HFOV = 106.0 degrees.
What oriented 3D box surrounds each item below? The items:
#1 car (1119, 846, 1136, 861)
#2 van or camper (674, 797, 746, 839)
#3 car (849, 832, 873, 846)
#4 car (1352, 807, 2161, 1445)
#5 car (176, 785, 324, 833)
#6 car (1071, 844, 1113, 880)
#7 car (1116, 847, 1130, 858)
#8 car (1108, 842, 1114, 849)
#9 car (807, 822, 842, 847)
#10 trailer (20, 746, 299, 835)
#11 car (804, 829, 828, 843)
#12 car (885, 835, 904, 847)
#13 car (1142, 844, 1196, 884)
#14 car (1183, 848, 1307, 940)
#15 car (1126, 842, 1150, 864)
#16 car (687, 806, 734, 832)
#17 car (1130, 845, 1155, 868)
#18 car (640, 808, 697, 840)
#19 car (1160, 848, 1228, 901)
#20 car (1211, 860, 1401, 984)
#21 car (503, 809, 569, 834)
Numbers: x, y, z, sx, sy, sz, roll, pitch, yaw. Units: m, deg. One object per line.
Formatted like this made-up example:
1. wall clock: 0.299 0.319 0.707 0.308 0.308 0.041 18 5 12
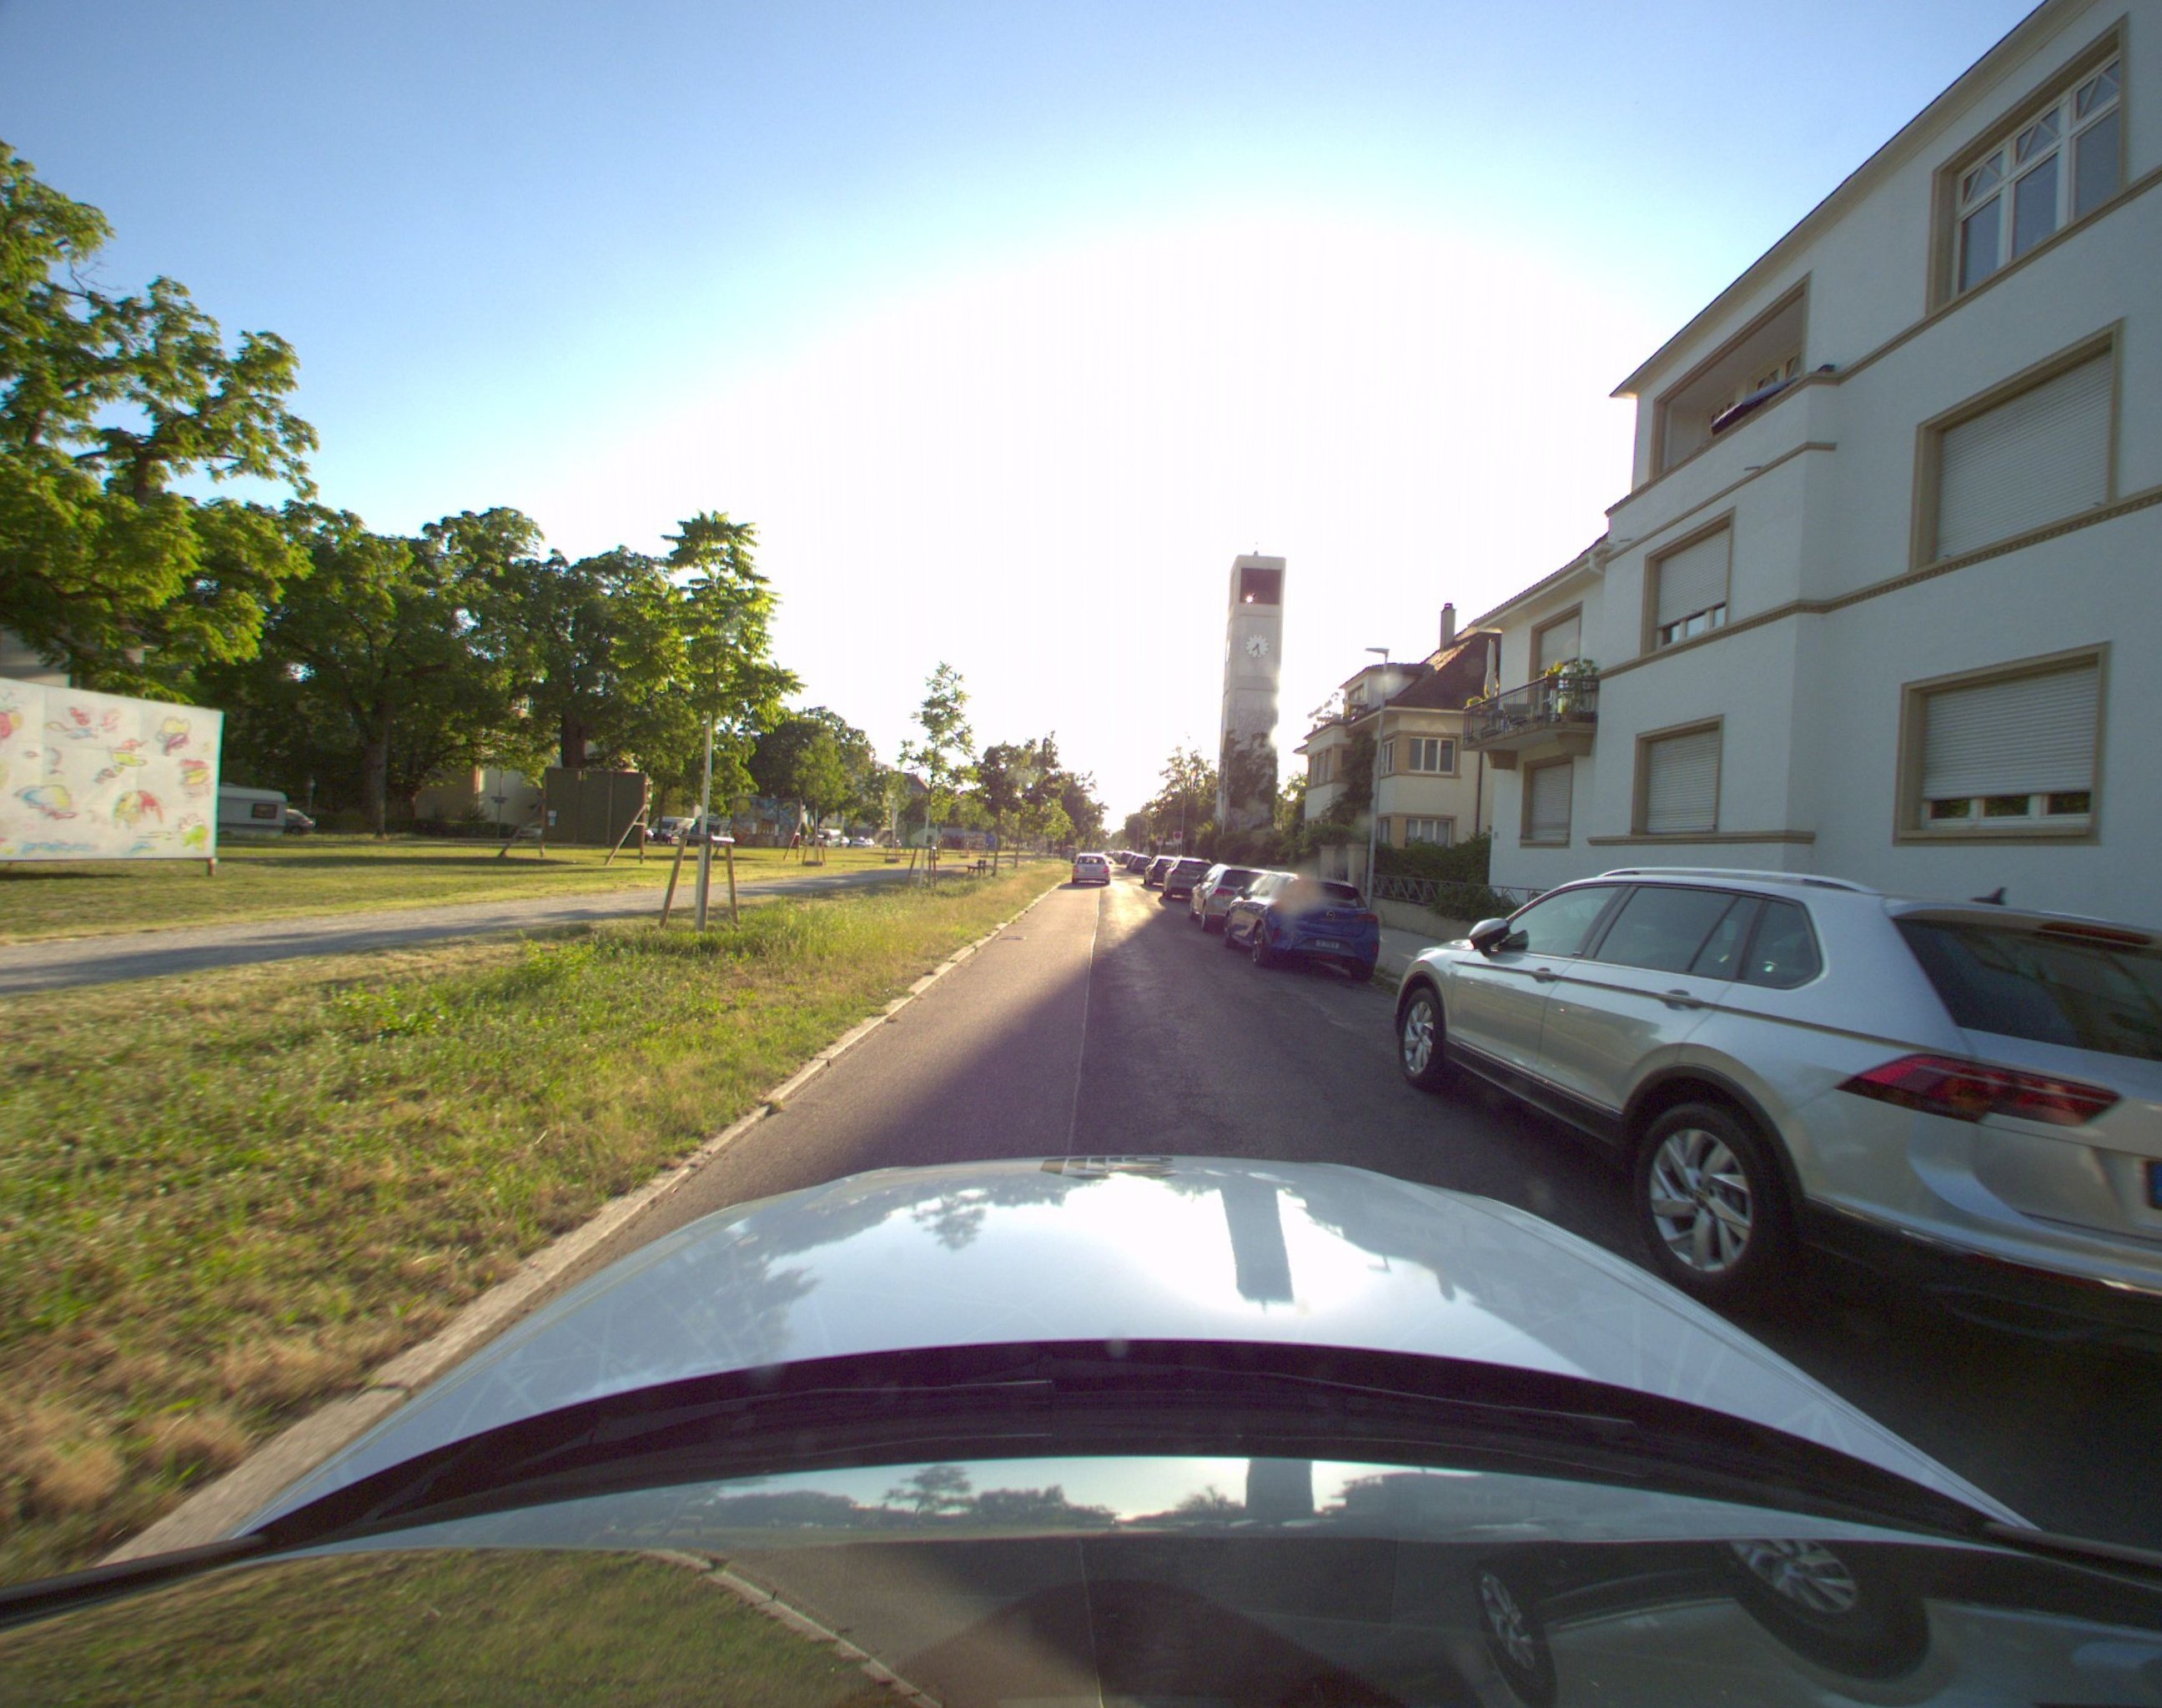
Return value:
1. car: 5.746 -0.054 100.761 1.826 1.731 5.033 5 0 1
2. van or camper: -31.752 -3.002 69.994 2.632 3.262 6.909 3 1 2
3. car: -30.891 -2.087 114.395 1.826 1.899 4.645 0 -1 3
4. car: 3.249 0.831 4.514 1.795 1.648 4.583 8 0 0
5. car: -38.646 -2.045 38.097 1.883 1.912 4.717 3 1 2
6. car: 0.551 0.335 38.218 1.816 1.566 4.002 2 1 2
7. car: 6.653 -0.227 128.500 1.985 1.462 4.565 5 1 3
8. car: 9.494 -2.617 257.243 1.981 2.023 4.002 3 0 2
9. car: -31.038 -2.335 98.758 2.252 2.826 5.874 0 -1 2
10. trailer: -32.830 -2.116 29.526 2.465 2.659 6.637 0 -1 1
11. car: -36.626 -2.475 112.724 1.724 1.854 4.715 0 -1 1
12. car: -30.348 -2.117 132.567 1.882 1.917 4.329 0 -1 2
13. car: 4.228 0.474 39.824 1.987 1.597 4.886 7 0 0
14. car: 3.615 0.787 18.790 1.904 1.559 4.569 7 2 2
15. car: 5.001 -0.115 72.341 1.816 1.560 4.624 9 1 2
16. car: -31.752 -3.002 69.994 1.986 2.013 4.003 3 1 2
17. car: 4.896 0.161 65.397 1.681 1.527 4.177 7 1 2
18. car: -38.067 -2.720 75.339 1.986 2.598 6.092 0 -1 1
19. car: 3.941 0.699 29.040 1.876 1.536 4.465 6 0 3
20. car: 3.454 0.958 13.399 1.757 1.434 4.303 9 0 0
21. car: -38.245 -2.279 57.254 1.987 1.542 3.809 3 1 0
